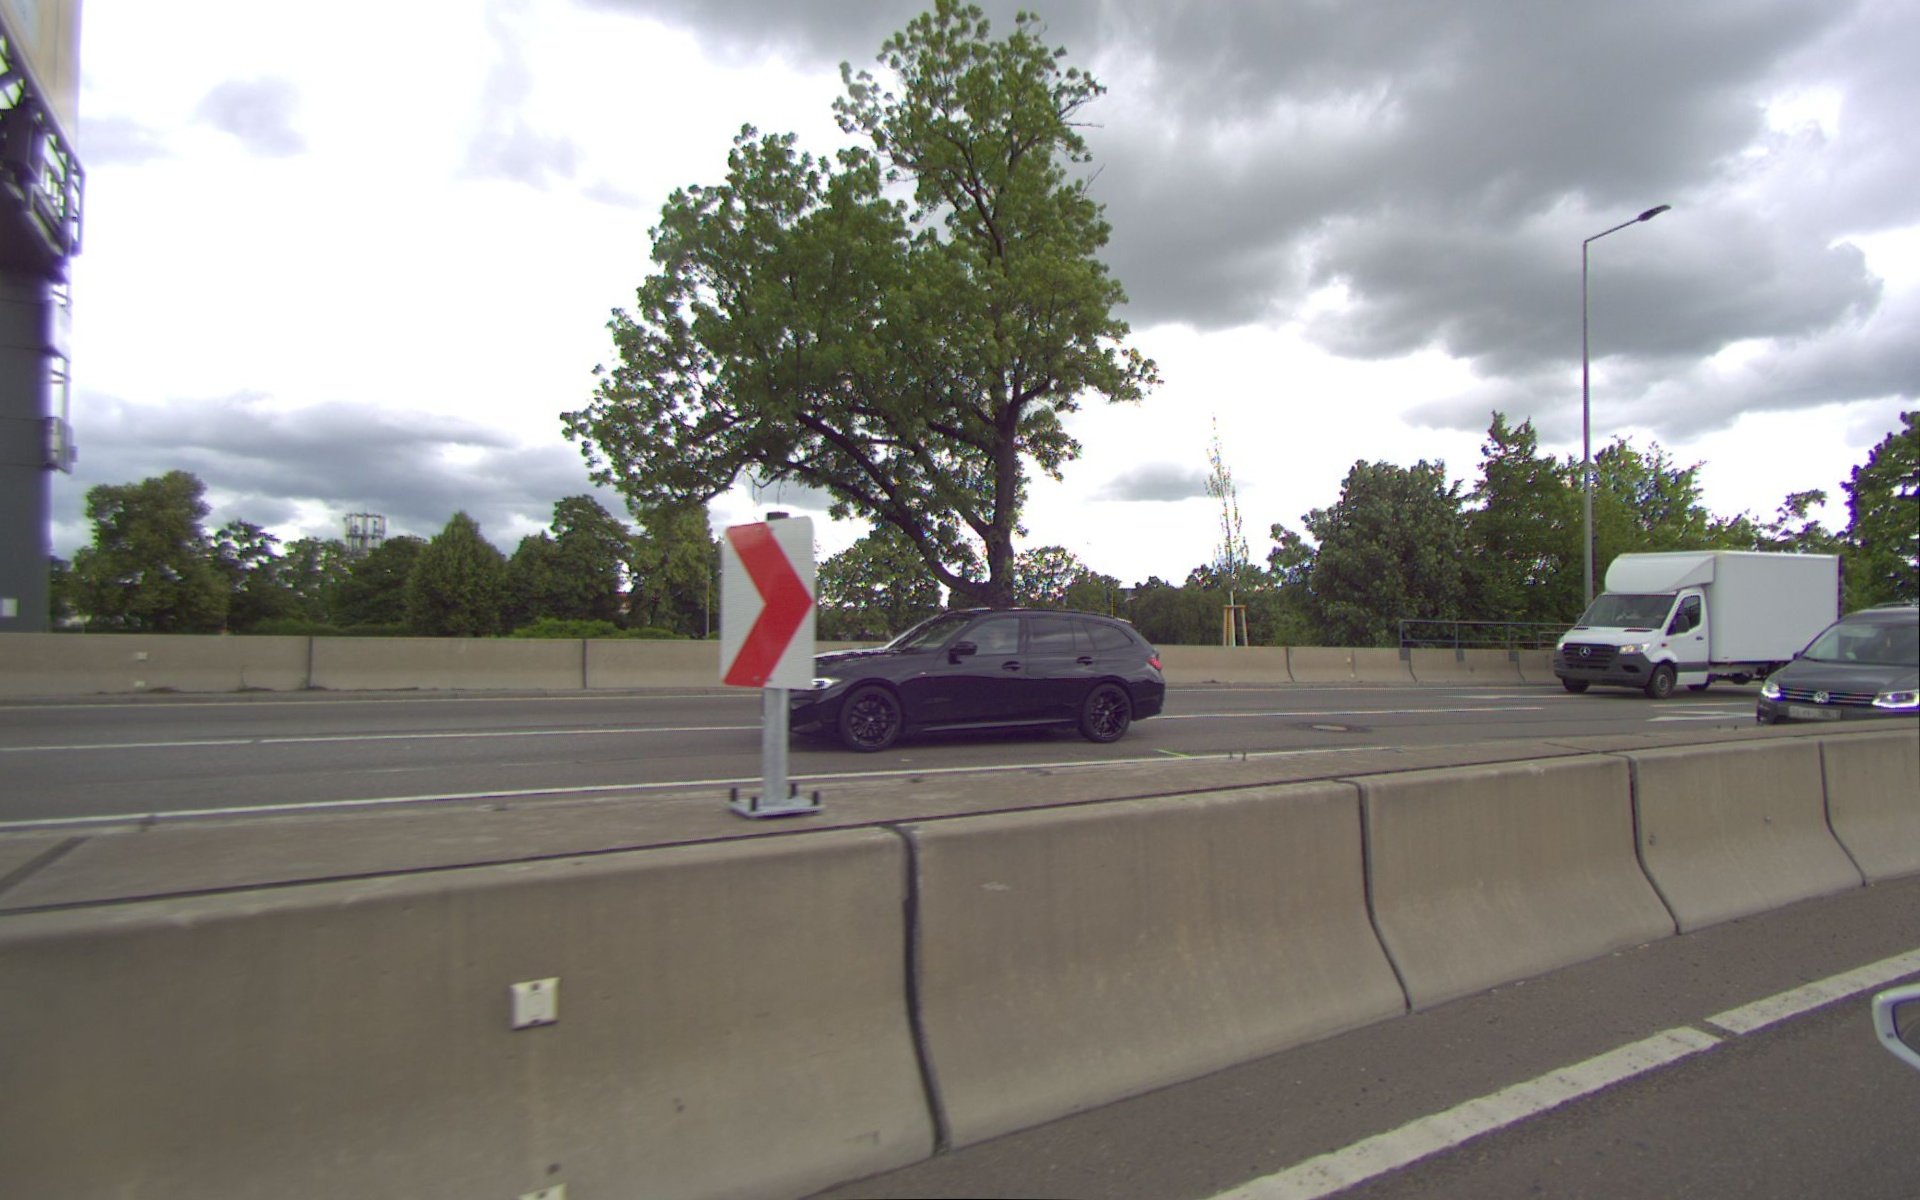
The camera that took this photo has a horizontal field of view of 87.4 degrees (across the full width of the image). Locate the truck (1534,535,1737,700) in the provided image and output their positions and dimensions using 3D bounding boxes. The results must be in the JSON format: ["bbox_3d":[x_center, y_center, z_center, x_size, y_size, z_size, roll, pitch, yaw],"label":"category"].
[{"bbox_3d":[14.006,0.374,20.888,2.947,3.155,2.266,2,0,-25],"label":"truck"}]

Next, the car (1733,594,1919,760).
[{"bbox_3d":[12.415,0.915,12.867,4.886,1.829,1.896,2,-1,-24],"label":"car"}]

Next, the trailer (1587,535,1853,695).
[{"bbox_3d":[16.832,0.380,22.220,5.633,3.179,2.266,2,0,-25],"label":"trailer"}]

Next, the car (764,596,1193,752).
[{"bbox_3d":[0.256,0.784,11.355,4.513,1.472,1.856,2,-1,-27],"label":"car"}]
